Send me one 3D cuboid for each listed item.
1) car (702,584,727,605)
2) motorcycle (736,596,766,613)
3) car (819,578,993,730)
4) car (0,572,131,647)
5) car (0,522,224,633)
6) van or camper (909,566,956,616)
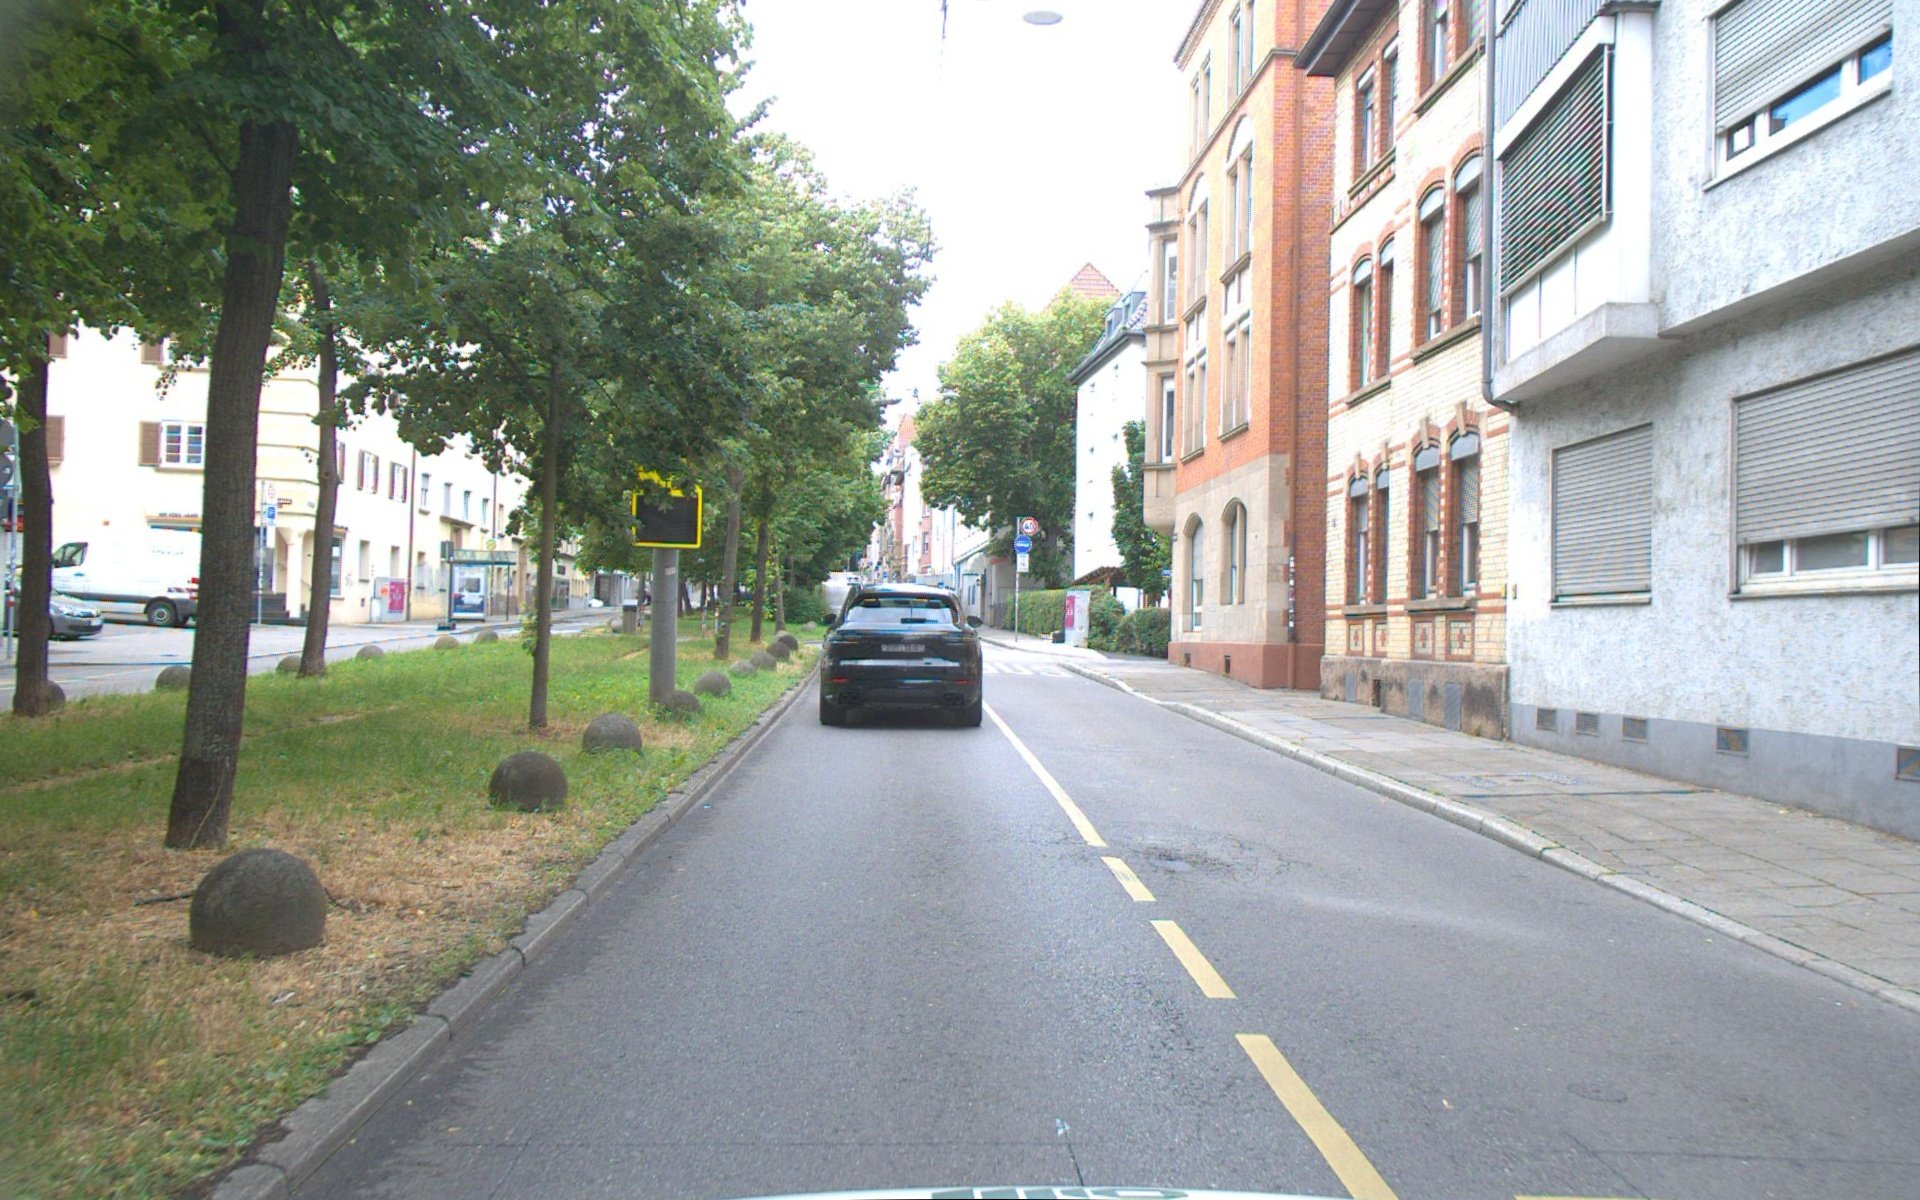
[{"bbox_3d":[-22.386,-0.495,150.886,1.912,1.656,4.359,-7,1,-6],"label":"car"},{"bbox_3d":[-17.113,0.331,135.494,2.336,1.340,1.044,1,0,-6],"label":"motorcycle"},{"bbox_3d":[-0.780,0.624,20.920,1.867,1.695,4.130,1,0,-6],"label":"car"},{"bbox_3d":[-21.303,0.157,37.167,4.202,1.444,2.047,4,0,-2],"label":"car"},{"bbox_3d":[-23.401,-0.583,45.770,5.082,2.784,2.170,2,0,-13],"label":"car"},{"bbox_3d":[-1.699,-0.535,99.466,2.431,2.852,7.232,1,0,-4],"label":"van or camper"}]
